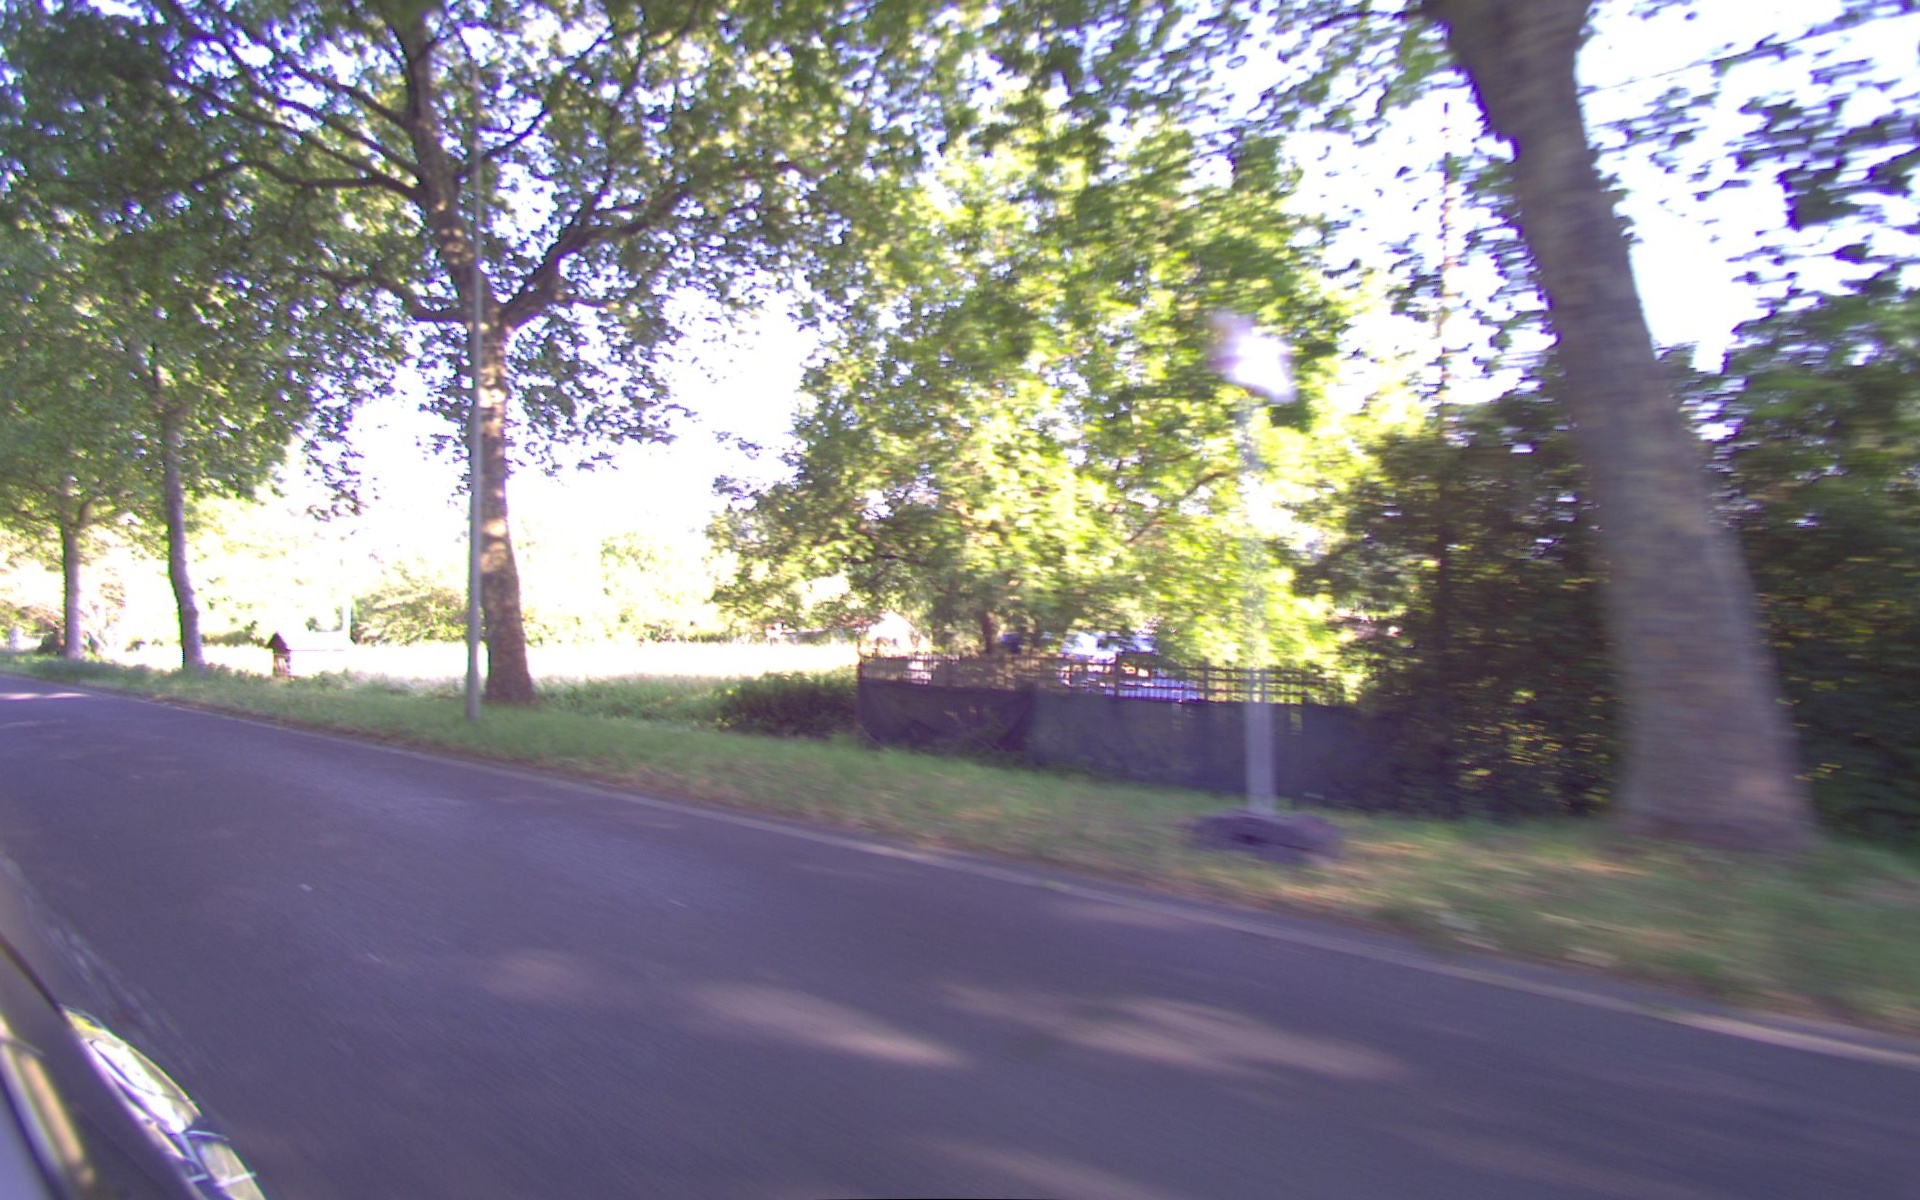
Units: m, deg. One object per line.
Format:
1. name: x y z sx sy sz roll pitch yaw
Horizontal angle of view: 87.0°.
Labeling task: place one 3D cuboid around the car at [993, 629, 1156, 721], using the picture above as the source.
1. car: 2.978 1.824 25.830 3.938 2.029 2.003 -1 0 -41
